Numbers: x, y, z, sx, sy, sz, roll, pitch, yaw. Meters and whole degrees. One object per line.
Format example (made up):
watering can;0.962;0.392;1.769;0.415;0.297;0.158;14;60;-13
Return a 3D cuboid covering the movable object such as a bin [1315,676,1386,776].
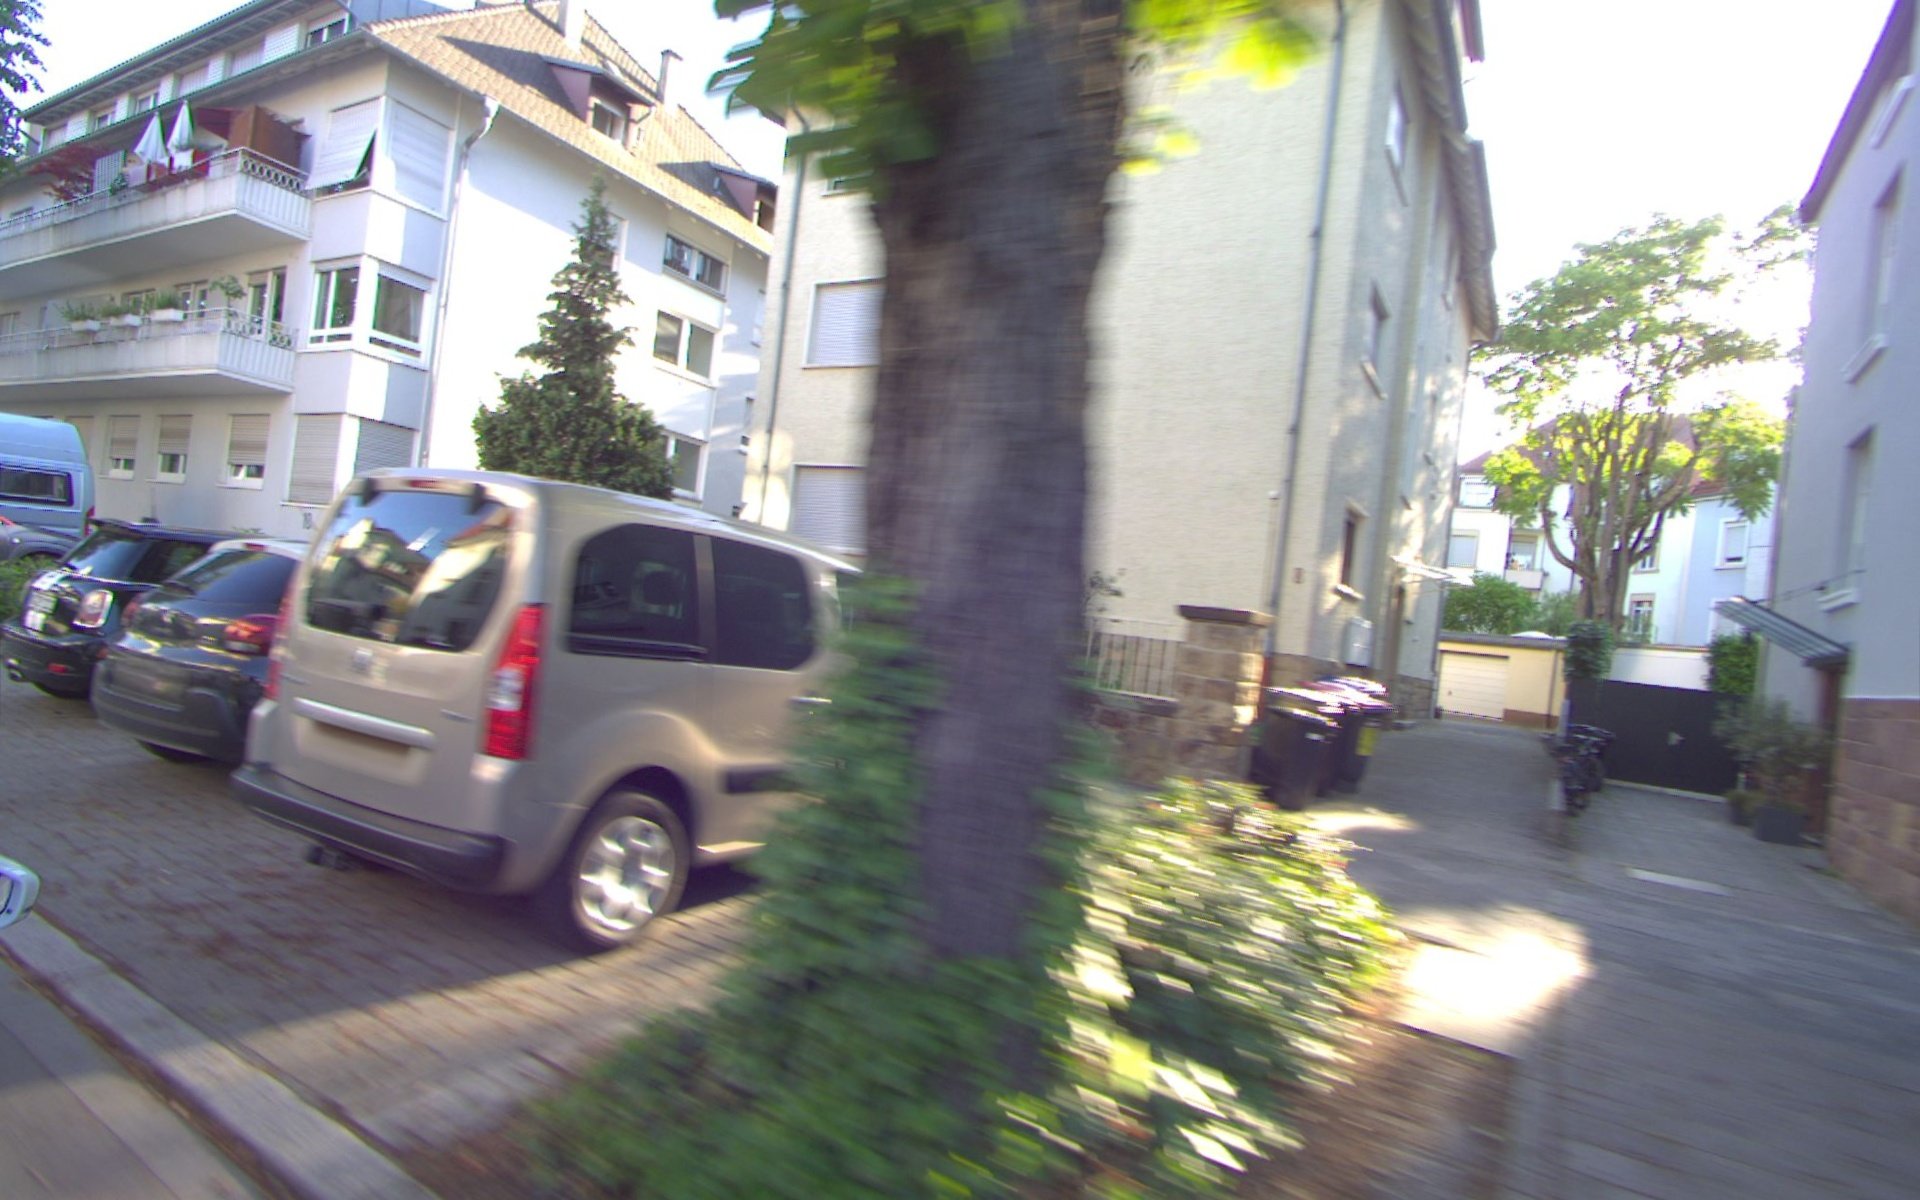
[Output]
movable object such as a bin;4.949;1.575;12.730;0.680;1.132;0.604;6;2;27

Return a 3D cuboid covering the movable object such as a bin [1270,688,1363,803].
movable object such as a bin;3.892;1.572;10.979;0.681;1.113;0.603;6;-1;38

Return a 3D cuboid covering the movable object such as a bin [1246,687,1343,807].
movable object such as a bin;3.478;1.510;10.440;0.681;1.113;0.603;6;-1;38

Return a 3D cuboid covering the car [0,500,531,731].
car;-5.699;0.163;8.428;1.729;1.445;3.406;7;0;31

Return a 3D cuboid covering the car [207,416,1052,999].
car;-1.214;0.436;5.587;1.728;1.907;4.310;6;-1;28

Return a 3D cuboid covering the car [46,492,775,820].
car;-3.467;0.397;7.323;1.728;1.559;4.310;7;-1;28

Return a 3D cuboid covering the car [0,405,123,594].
car;-16.969;-1.849;15.953;2.041;2.937;5.103;7;0;30

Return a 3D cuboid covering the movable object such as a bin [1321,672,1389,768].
movable object such as a bin;5.247;1.576;13.355;0.680;1.132;0.604;6;2;27

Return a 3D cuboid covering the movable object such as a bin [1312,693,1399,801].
movable object such as a bin;4.468;1.634;11.361;0.681;1.077;0.603;6;1;38

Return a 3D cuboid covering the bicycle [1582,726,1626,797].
bicycle;11.257;2.792;17.561;0.452;1.085;1.955;7;-1;35

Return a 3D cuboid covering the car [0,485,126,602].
car;-14.847;-0.971;14.296;1.729;1.588;4.194;7;0;30

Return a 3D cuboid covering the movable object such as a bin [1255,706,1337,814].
movable object such as a bin;3.243;1.535;9.728;0.497;0.932;0.495;7;-1;-4

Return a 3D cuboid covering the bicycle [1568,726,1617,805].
bicycle;9.952;2.564;15.810;0.452;1.085;1.955;7;-1;35
